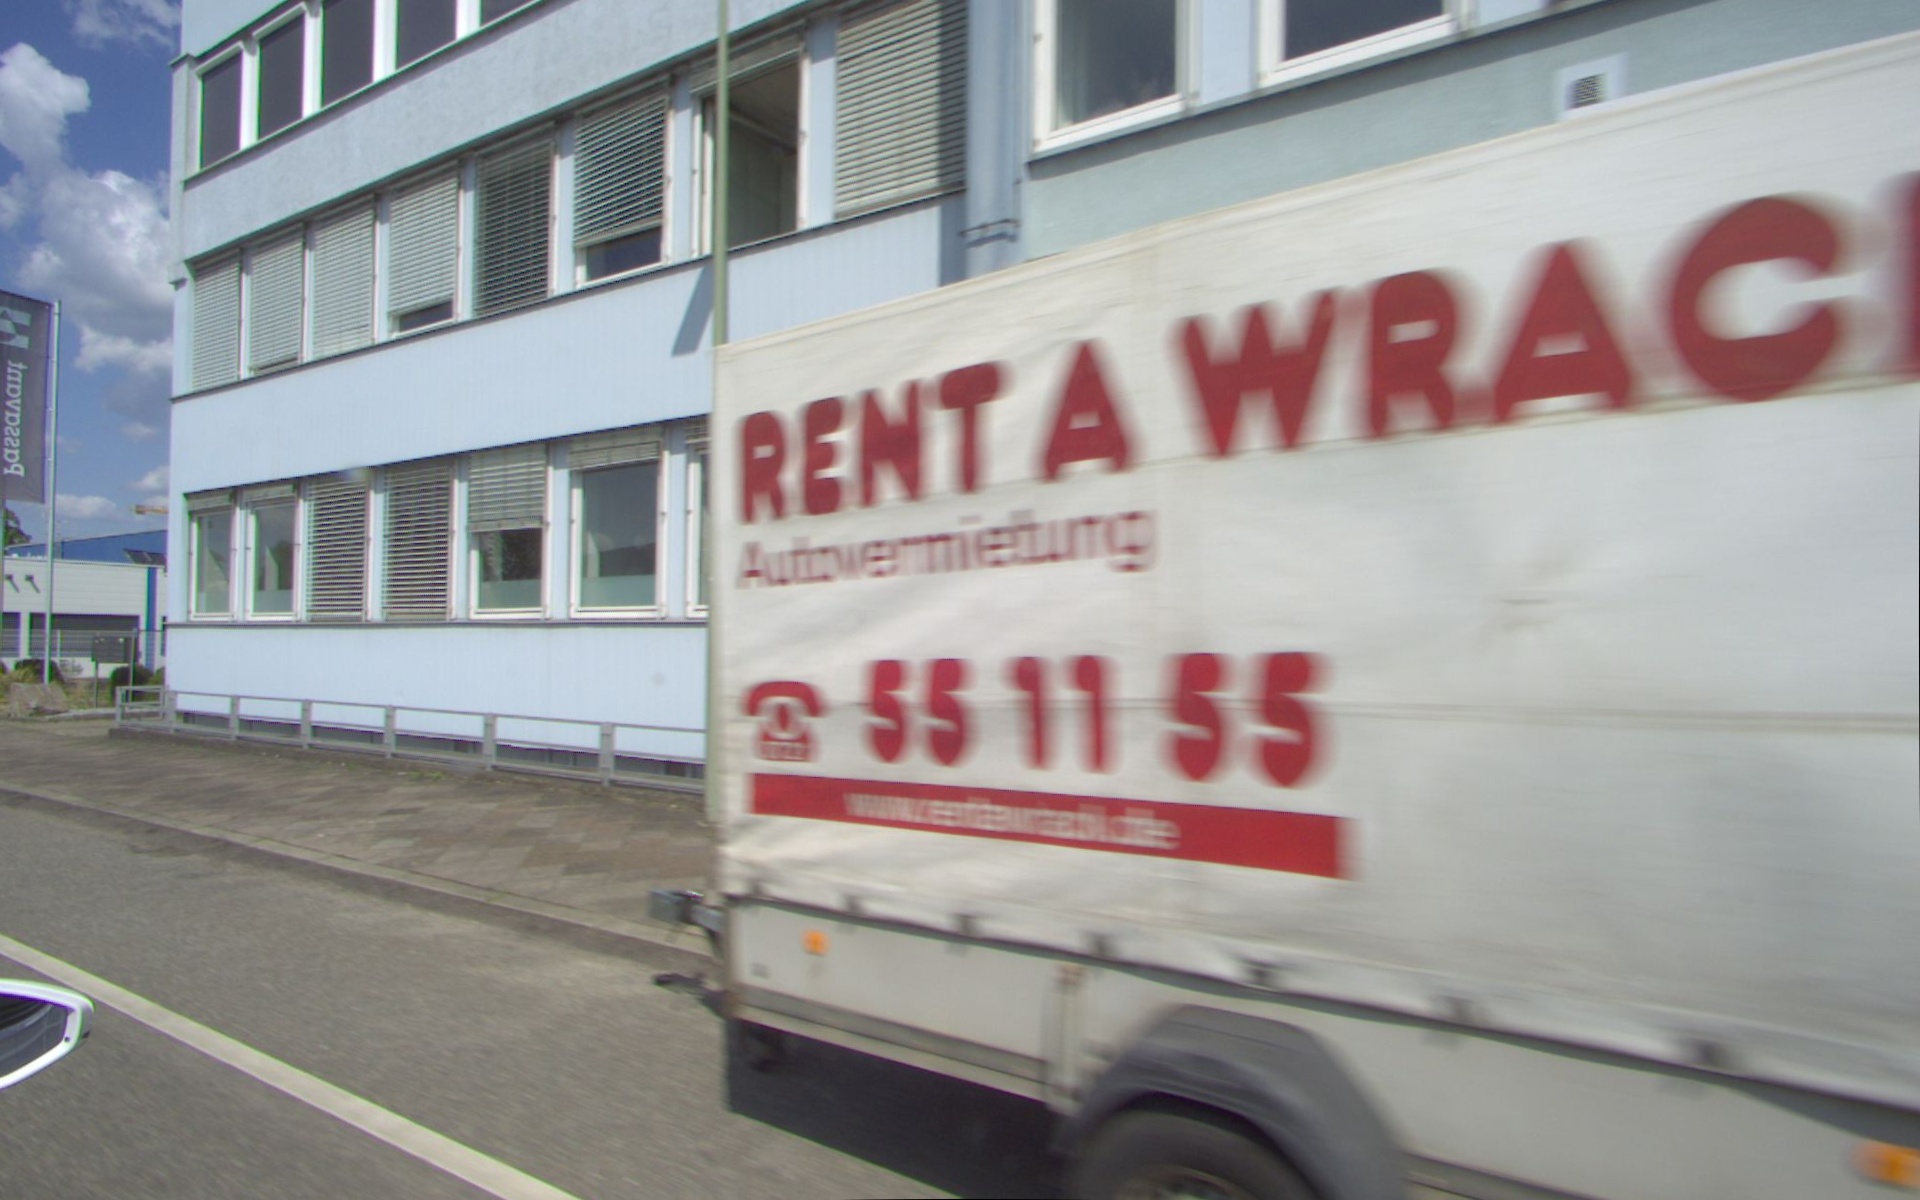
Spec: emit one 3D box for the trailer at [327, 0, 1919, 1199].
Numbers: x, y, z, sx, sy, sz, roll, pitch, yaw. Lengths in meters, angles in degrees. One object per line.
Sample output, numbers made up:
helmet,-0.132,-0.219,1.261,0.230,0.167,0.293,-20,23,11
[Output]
trailer,0.176,0.380,3.213,5.002,2.585,1.865,-1,-3,34
